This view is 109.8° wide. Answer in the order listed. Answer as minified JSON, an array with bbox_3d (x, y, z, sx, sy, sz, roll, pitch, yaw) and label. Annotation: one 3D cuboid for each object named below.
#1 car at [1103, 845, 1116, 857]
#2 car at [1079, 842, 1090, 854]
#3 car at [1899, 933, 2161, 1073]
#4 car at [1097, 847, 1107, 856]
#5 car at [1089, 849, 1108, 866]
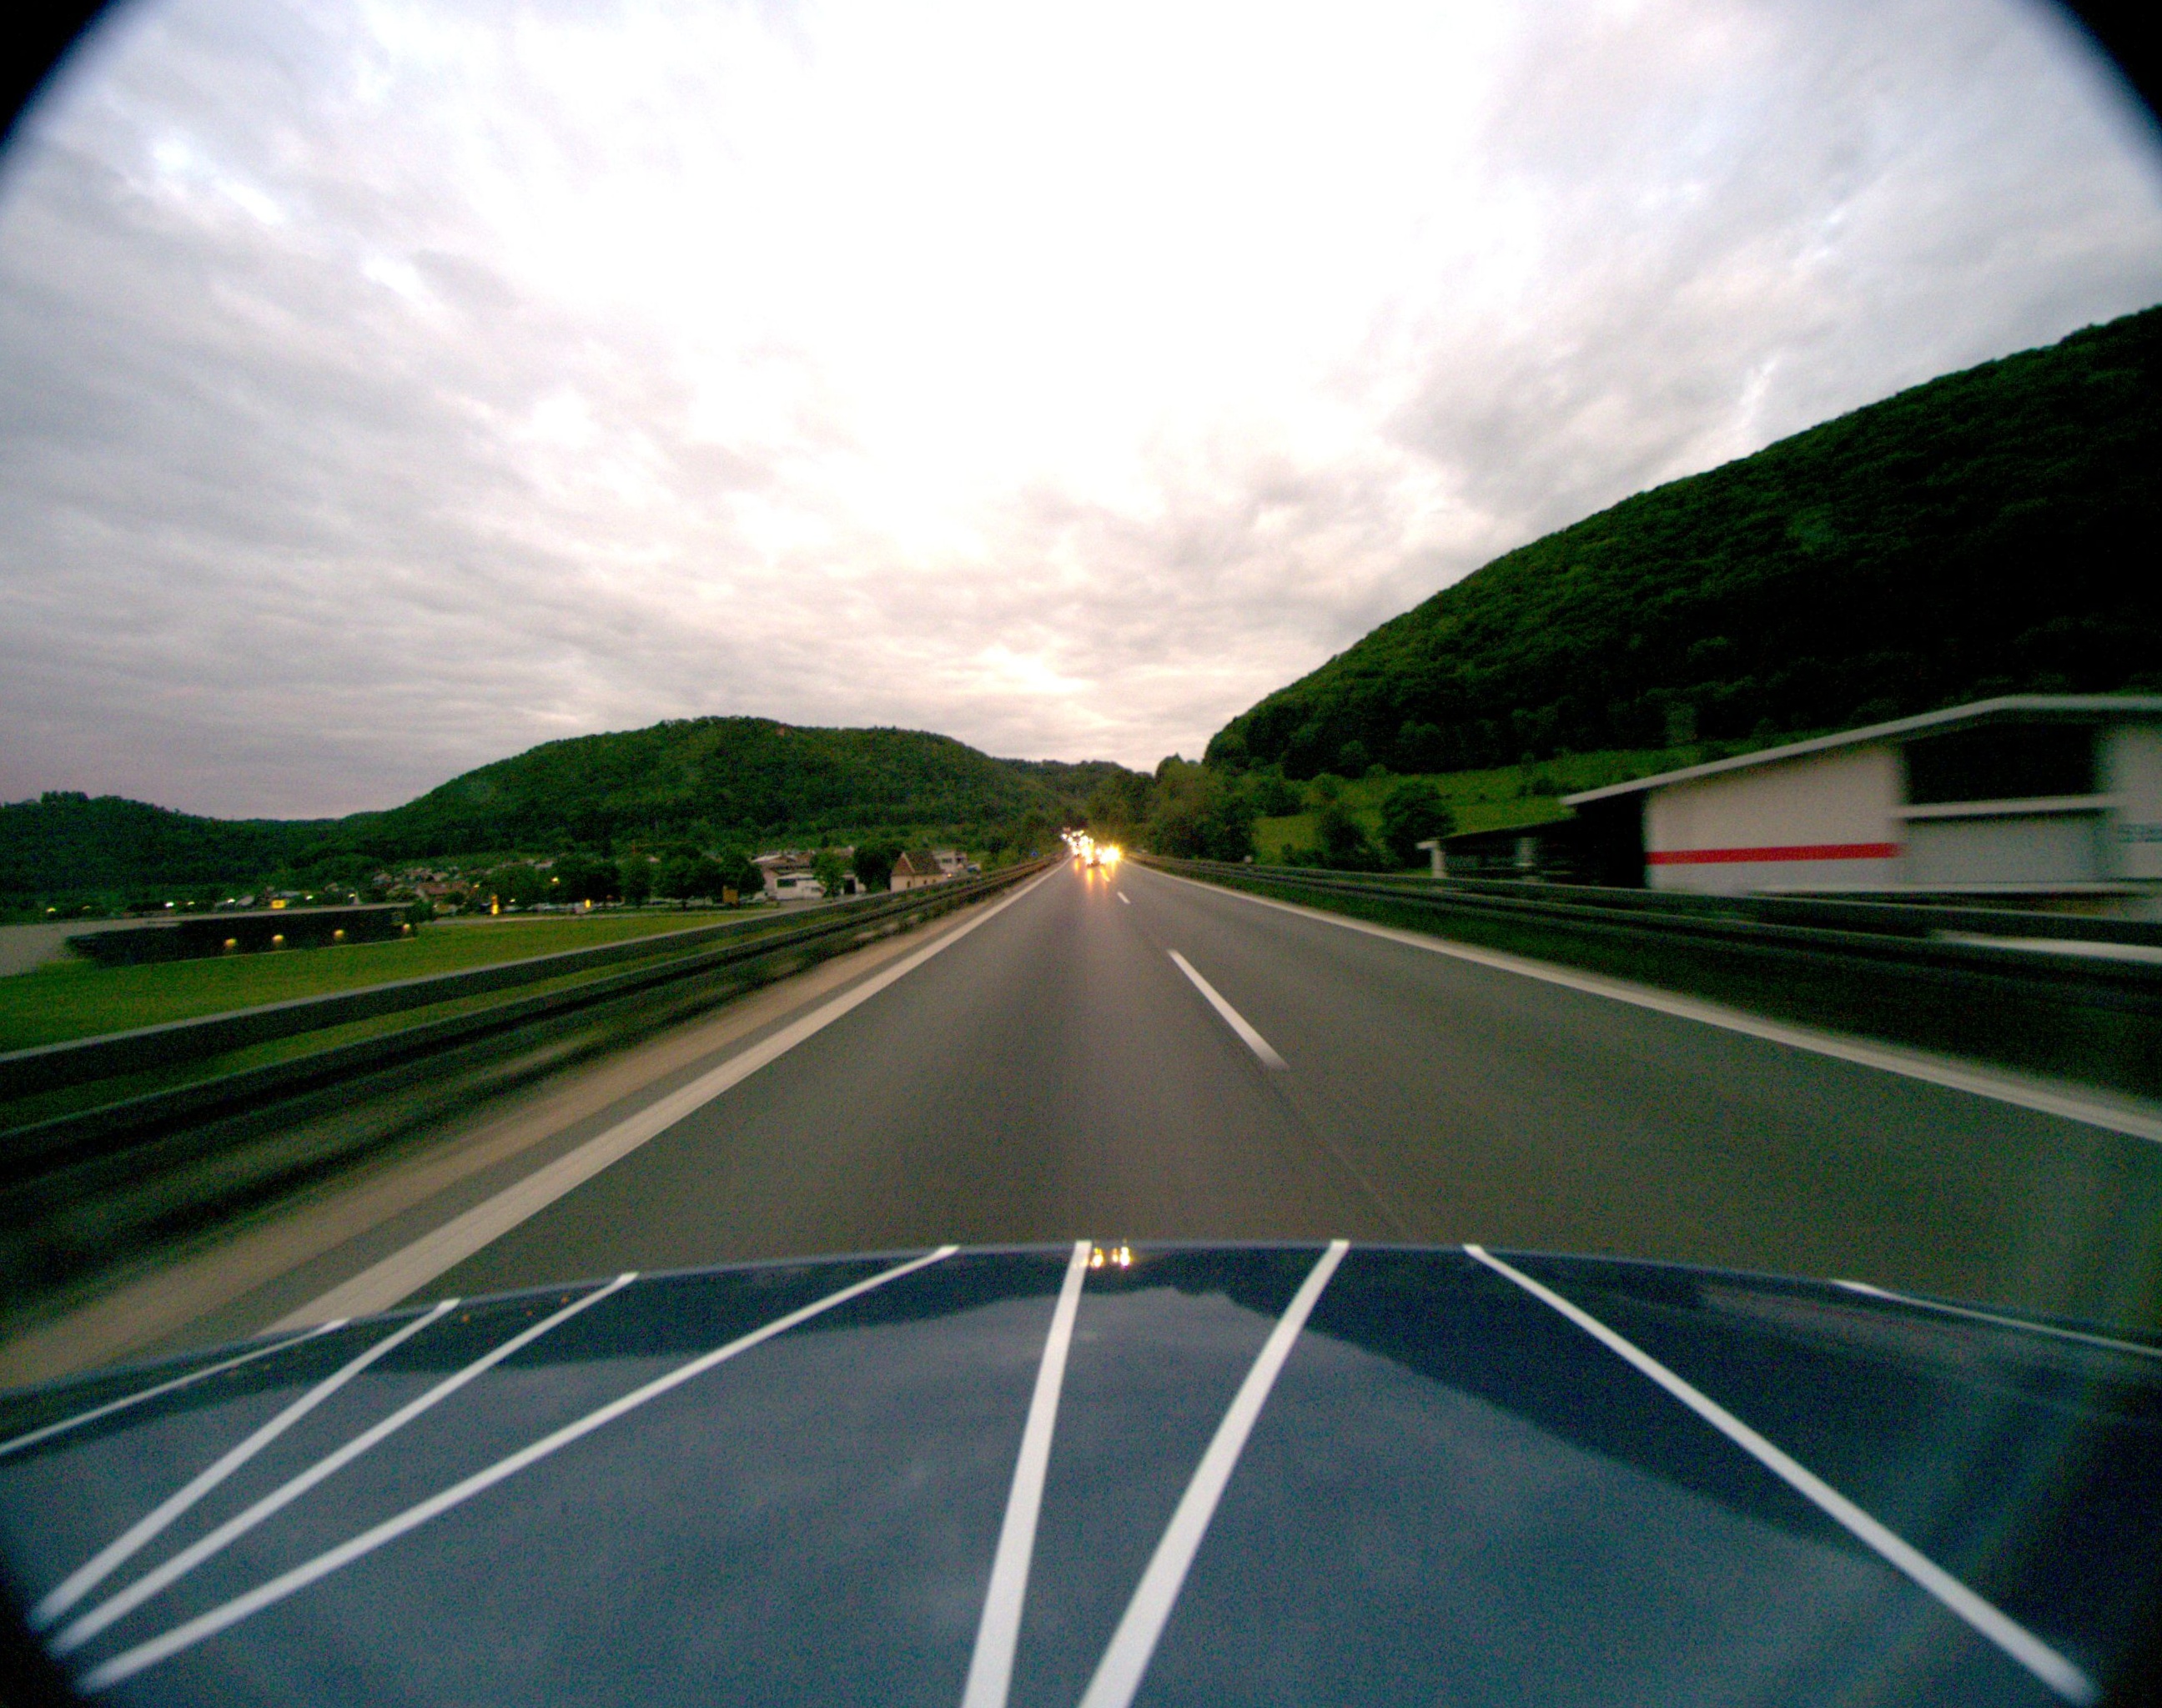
[{"bbox_3d":[4.088,-0.403,108.053,1.690,1.459,3.769,-1,-3,-1],"label":"car"},{"bbox_3d":[0.566,-0.943,119.159,1.737,1.640,3.670,-1,-3,0],"label":"car"},{"bbox_3d":[15.468,2.194,11.522,3.995,1.683,1.773,-2,1,6],"label":"car"},{"bbox_3d":[3.852,-0.523,138.567,1.690,1.424,3.670,-1,-3,0],"label":"car"},{"bbox_3d":[1.681,0.348,73.506,1.690,1.442,3.670,-1,-3,0],"label":"car"}]
